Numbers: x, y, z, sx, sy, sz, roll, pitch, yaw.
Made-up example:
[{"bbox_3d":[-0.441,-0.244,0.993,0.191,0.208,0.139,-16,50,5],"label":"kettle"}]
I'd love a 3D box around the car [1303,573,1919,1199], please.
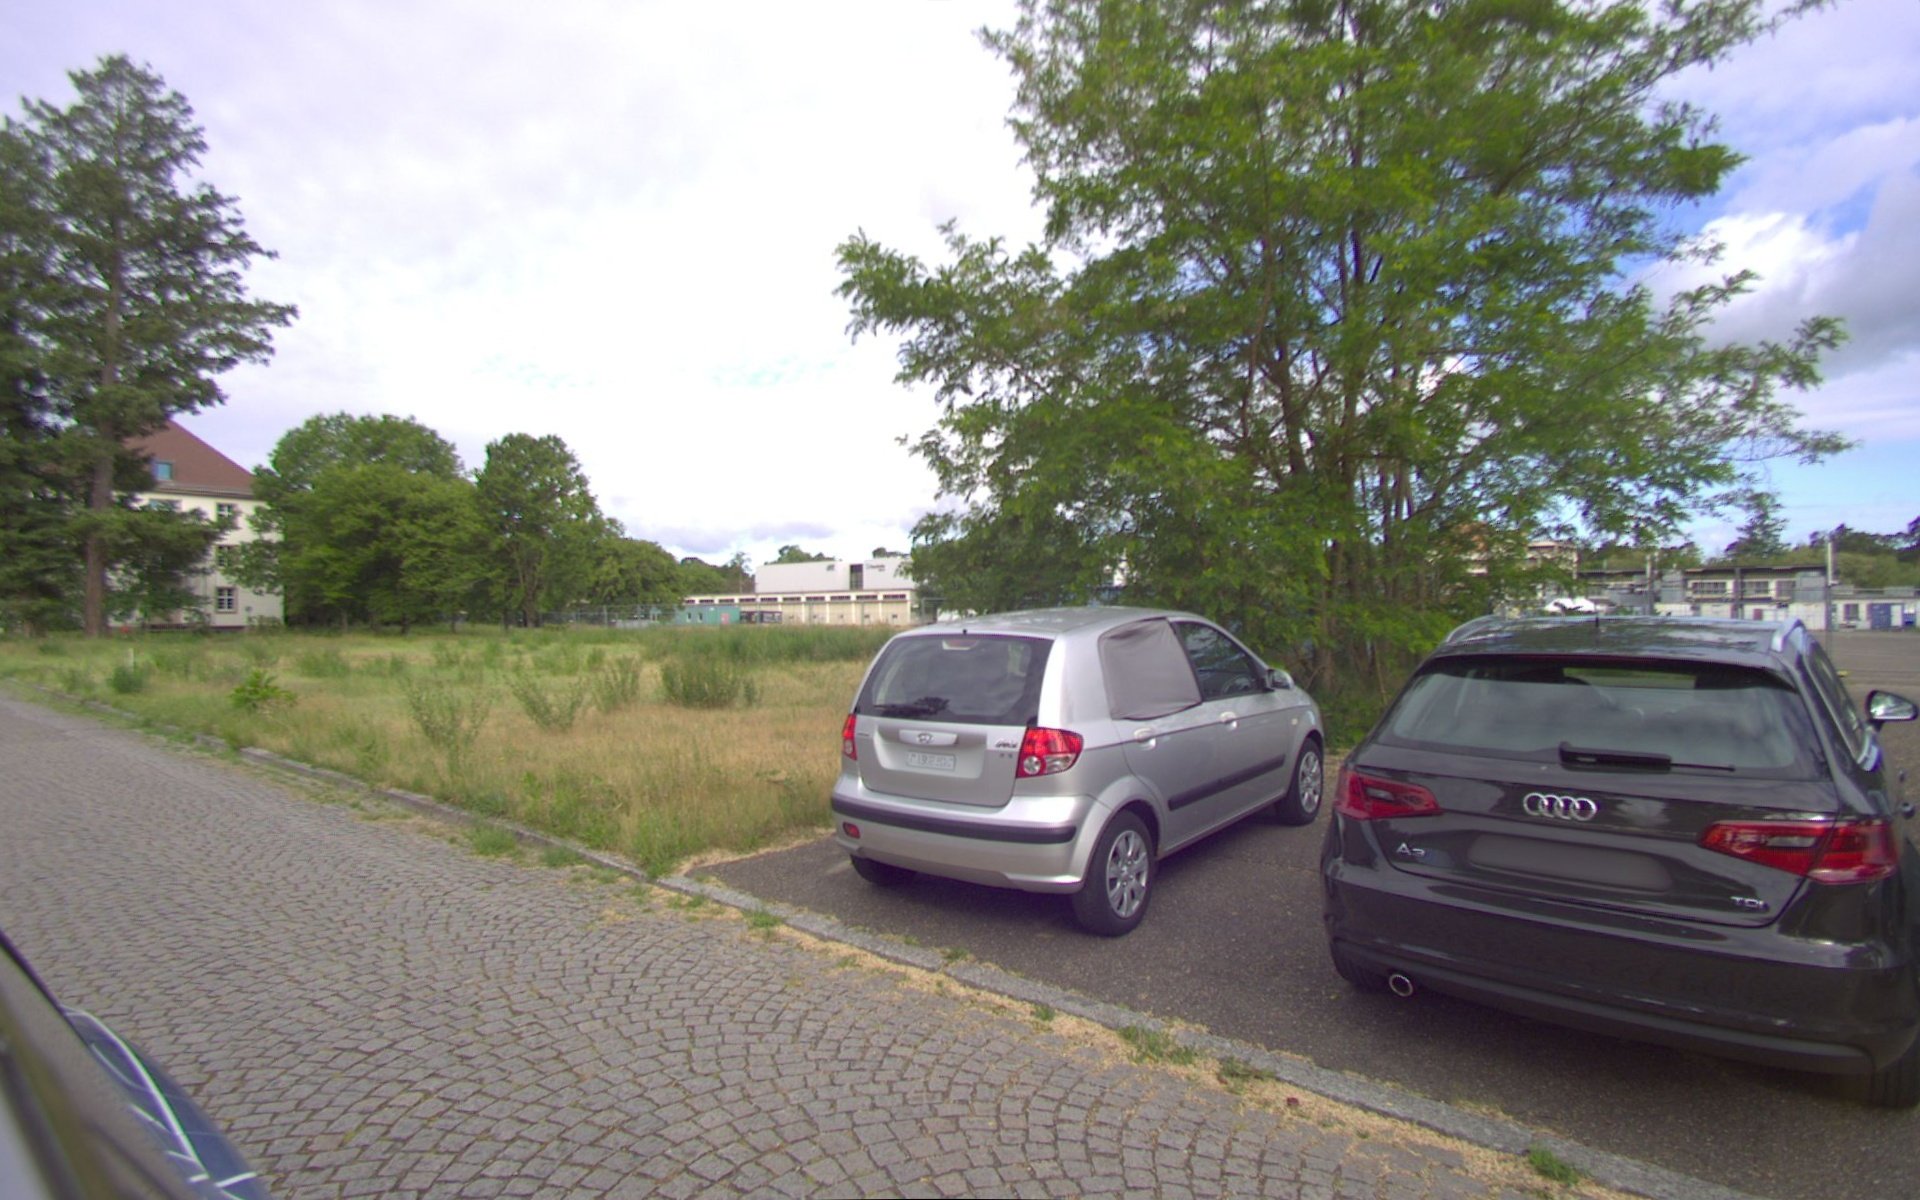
[{"bbox_3d":[3.189,0.657,4.484,1.720,1.435,4.391,-1,1,39],"label":"car"}]

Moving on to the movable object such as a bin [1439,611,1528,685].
[{"bbox_3d":[8.716,0.771,16.796,0.858,1.134,2.238,-1,-2,39],"label":"movable object such as a bin"}]

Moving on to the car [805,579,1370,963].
[{"bbox_3d":[1.067,0.671,6.119,1.583,1.481,3.912,-1,1,38],"label":"car"}]
